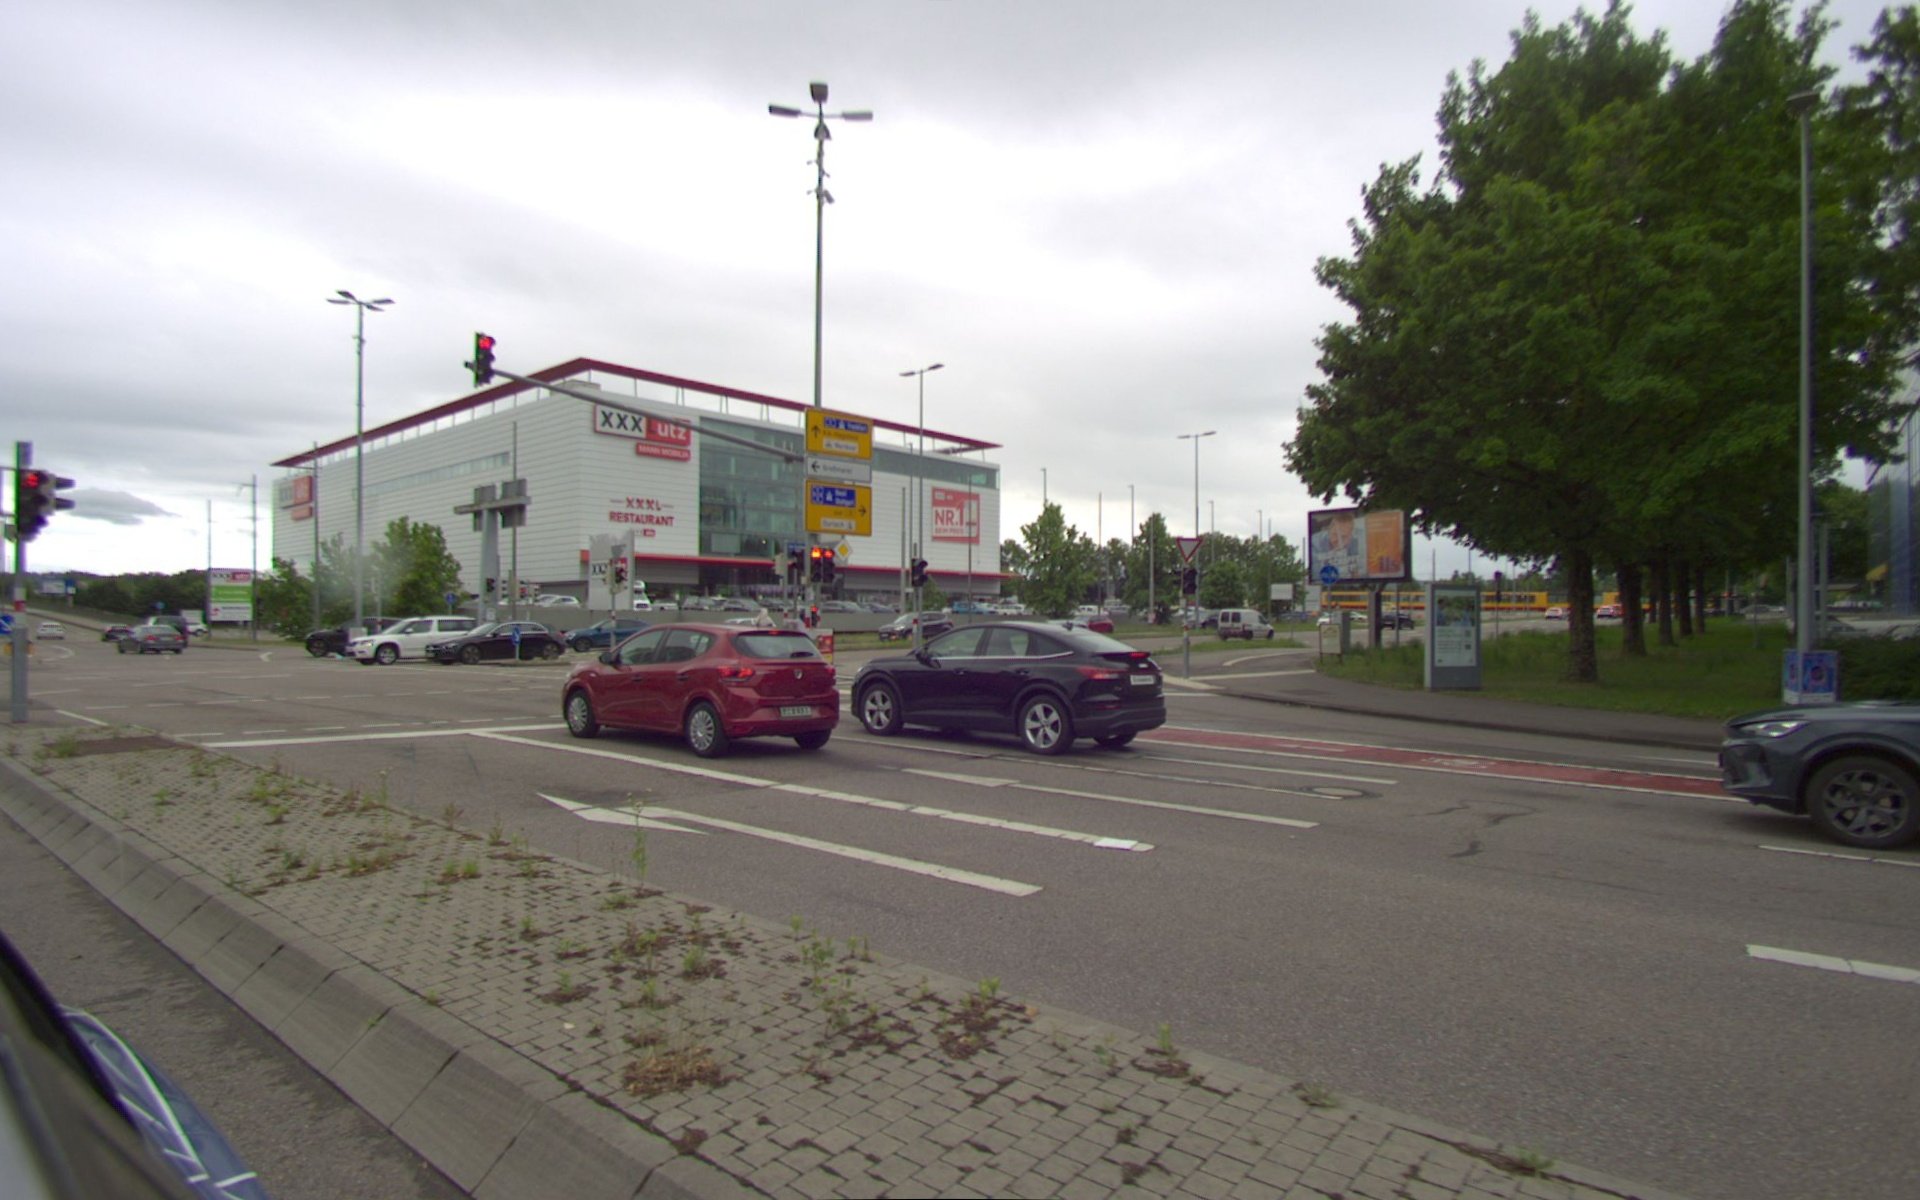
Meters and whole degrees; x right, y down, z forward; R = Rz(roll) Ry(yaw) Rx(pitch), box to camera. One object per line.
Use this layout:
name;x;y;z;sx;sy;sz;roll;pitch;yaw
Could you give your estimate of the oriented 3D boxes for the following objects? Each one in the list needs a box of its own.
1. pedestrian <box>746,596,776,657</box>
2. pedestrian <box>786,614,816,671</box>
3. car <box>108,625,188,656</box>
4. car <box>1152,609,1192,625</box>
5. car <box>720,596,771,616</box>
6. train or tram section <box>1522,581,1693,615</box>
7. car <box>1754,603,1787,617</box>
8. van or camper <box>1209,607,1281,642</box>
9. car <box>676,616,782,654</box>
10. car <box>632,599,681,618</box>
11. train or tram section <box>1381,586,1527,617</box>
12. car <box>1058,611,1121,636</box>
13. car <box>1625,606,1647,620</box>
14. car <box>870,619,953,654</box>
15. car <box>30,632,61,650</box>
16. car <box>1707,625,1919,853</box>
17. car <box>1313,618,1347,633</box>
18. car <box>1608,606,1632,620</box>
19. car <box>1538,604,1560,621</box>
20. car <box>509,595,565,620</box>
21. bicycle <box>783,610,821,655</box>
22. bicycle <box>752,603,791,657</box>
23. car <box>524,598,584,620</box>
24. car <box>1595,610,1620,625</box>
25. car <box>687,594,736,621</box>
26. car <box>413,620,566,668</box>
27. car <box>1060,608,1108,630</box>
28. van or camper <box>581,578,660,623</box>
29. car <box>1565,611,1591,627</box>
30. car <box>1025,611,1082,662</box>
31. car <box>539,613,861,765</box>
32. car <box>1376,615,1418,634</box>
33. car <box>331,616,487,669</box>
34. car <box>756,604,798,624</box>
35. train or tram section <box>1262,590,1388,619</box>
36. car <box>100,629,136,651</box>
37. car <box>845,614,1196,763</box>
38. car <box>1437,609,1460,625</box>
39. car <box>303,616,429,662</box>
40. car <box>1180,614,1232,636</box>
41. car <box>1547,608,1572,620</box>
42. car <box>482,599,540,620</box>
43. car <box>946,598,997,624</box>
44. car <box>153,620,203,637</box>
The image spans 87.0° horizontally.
pedestrian;-5.365;0.706;27.244;0.630;1.639;0.694;1;0;-23
pedestrian;-4.453;1.174;28.308;0.642;1.560;0.652;-2;1;-25
car;-40.280;2.022;50.178;4.866;1.422;1.796;-3;-3;35
car;23.498;1.928;112.219;4.000;1.577;1.771;-4;-2;43
car;-16.992;0.485;80.194;3.991;1.448;1.845;-3;-2;40
train or tram section;105.912;-0.242;166.400;23.267;4.875;3.584;-2;-1;40
car;127.083;1.636;158.677;3.998;2.029;1.973;-3;-2;41
van or camper;15.511;1.306;55.010;2.000;1.735;4.333;-4;-2;42
car;-9.898;1.490;43.589;1.803;1.426;4.159;-4;-2;43
car;-29.121;0.809;97.247;1.777;1.688;4.199;-4;-2;43
train or tram section;88.188;0.408;181.437;23.267;4.875;3.584;-2;-1;40
car;8.068;1.440;62.786;1.803;1.426;4.159;-4;-2;43
car;93.689;1.821;140.239;1.849;1.732;3.868;-4;-2;44
car;-2.451;1.844;51.724;1.803;1.586;4.159;-4;-2;43
car;-79.376;3.593;87.861;1.806;1.421;4.203;5;-6;-41
car;8.113;1.018;7.103;4.592;1.556;1.862;0;-2;38
car;38.088;2.629;104.071;1.803;1.426;4.159;-4;-2;43
car;88.083;1.761;134.995;3.866;1.901;1.850;1;-3;-45
car;78.837;1.665;135.424;1.998;2.236;3.946;-1;-1;40
car;-35.717;0.604;85.517;2.001;2.029;3.942;-4;-2;44
bicycle;-4.416;0.883;28.215;0.499;1.174;1.954;-2;1;-24
bicycle;-5.108;0.791;27.393;0.587;1.407;1.940;2;-1;-23
car;-33.229;0.721;82.928;1.777;1.688;4.199;-4;-2;43
car;83.882;2.270;131.054;3.866;1.901;1.850;1;0;-44
car;-19.147;0.591;77.918;3.867;1.962;1.844;-3;-2;42
car;-15.414;1.420;33.266;1.769;1.389;4.197;-4;-2;44
car;12.314;1.878;100.422;4.324;2.029;1.973;-3;-2;41
van or camper;-26.353;0.071;78.371;7.237;3.159;2.676;-4;-2;44
car;71.307;2.203;116.748;1.847;1.668;4.302;1;1;40
car;2.976;1.139;32.278;1.680;1.498;4.112;1;-1;5
car;-3.268;0.957;12.332;4.075;1.499;1.717;0;-2;40
car;33.655;1.891;77.937;1.728;1.382;3.942;0;-2;44
car;-18.726;1.422;34.528;1.797;1.637;4.319;-3;-2;37
car;-18.432;1.416;101.838;3.997;1.752;1.973;-3;-2;41
train or tram section;70.439;0.959;196.428;23.267;4.875;3.584;-2;-1;40
car;-68.925;3.310;82.810;4.001;1.674;1.834;-4;-2;44
car;0.704;1.060;13.385;4.328;1.650;1.862;0;-4;38
car;68.699;2.396;142.175;1.998;2.259;3.946;-1;-1;40
car;-25.339;1.695;43.263;4.311;1.637;1.800;-4;-4;-2
car;17.717;1.789;72.885;1.803;1.426;4.159;-4;-2;43
car;72.332;1.676;122.092;1.788;1.463;3.875;0;0;45
car;-38.416;0.810;86.648;1.777;1.688;4.199;-4;-2;43
car;0.950;0.938;86.307;3.998;2.029;1.973;-3;-2;41
car;-83.169;3.016;107.682;4.134;1.622;1.724;0;-3;-43
